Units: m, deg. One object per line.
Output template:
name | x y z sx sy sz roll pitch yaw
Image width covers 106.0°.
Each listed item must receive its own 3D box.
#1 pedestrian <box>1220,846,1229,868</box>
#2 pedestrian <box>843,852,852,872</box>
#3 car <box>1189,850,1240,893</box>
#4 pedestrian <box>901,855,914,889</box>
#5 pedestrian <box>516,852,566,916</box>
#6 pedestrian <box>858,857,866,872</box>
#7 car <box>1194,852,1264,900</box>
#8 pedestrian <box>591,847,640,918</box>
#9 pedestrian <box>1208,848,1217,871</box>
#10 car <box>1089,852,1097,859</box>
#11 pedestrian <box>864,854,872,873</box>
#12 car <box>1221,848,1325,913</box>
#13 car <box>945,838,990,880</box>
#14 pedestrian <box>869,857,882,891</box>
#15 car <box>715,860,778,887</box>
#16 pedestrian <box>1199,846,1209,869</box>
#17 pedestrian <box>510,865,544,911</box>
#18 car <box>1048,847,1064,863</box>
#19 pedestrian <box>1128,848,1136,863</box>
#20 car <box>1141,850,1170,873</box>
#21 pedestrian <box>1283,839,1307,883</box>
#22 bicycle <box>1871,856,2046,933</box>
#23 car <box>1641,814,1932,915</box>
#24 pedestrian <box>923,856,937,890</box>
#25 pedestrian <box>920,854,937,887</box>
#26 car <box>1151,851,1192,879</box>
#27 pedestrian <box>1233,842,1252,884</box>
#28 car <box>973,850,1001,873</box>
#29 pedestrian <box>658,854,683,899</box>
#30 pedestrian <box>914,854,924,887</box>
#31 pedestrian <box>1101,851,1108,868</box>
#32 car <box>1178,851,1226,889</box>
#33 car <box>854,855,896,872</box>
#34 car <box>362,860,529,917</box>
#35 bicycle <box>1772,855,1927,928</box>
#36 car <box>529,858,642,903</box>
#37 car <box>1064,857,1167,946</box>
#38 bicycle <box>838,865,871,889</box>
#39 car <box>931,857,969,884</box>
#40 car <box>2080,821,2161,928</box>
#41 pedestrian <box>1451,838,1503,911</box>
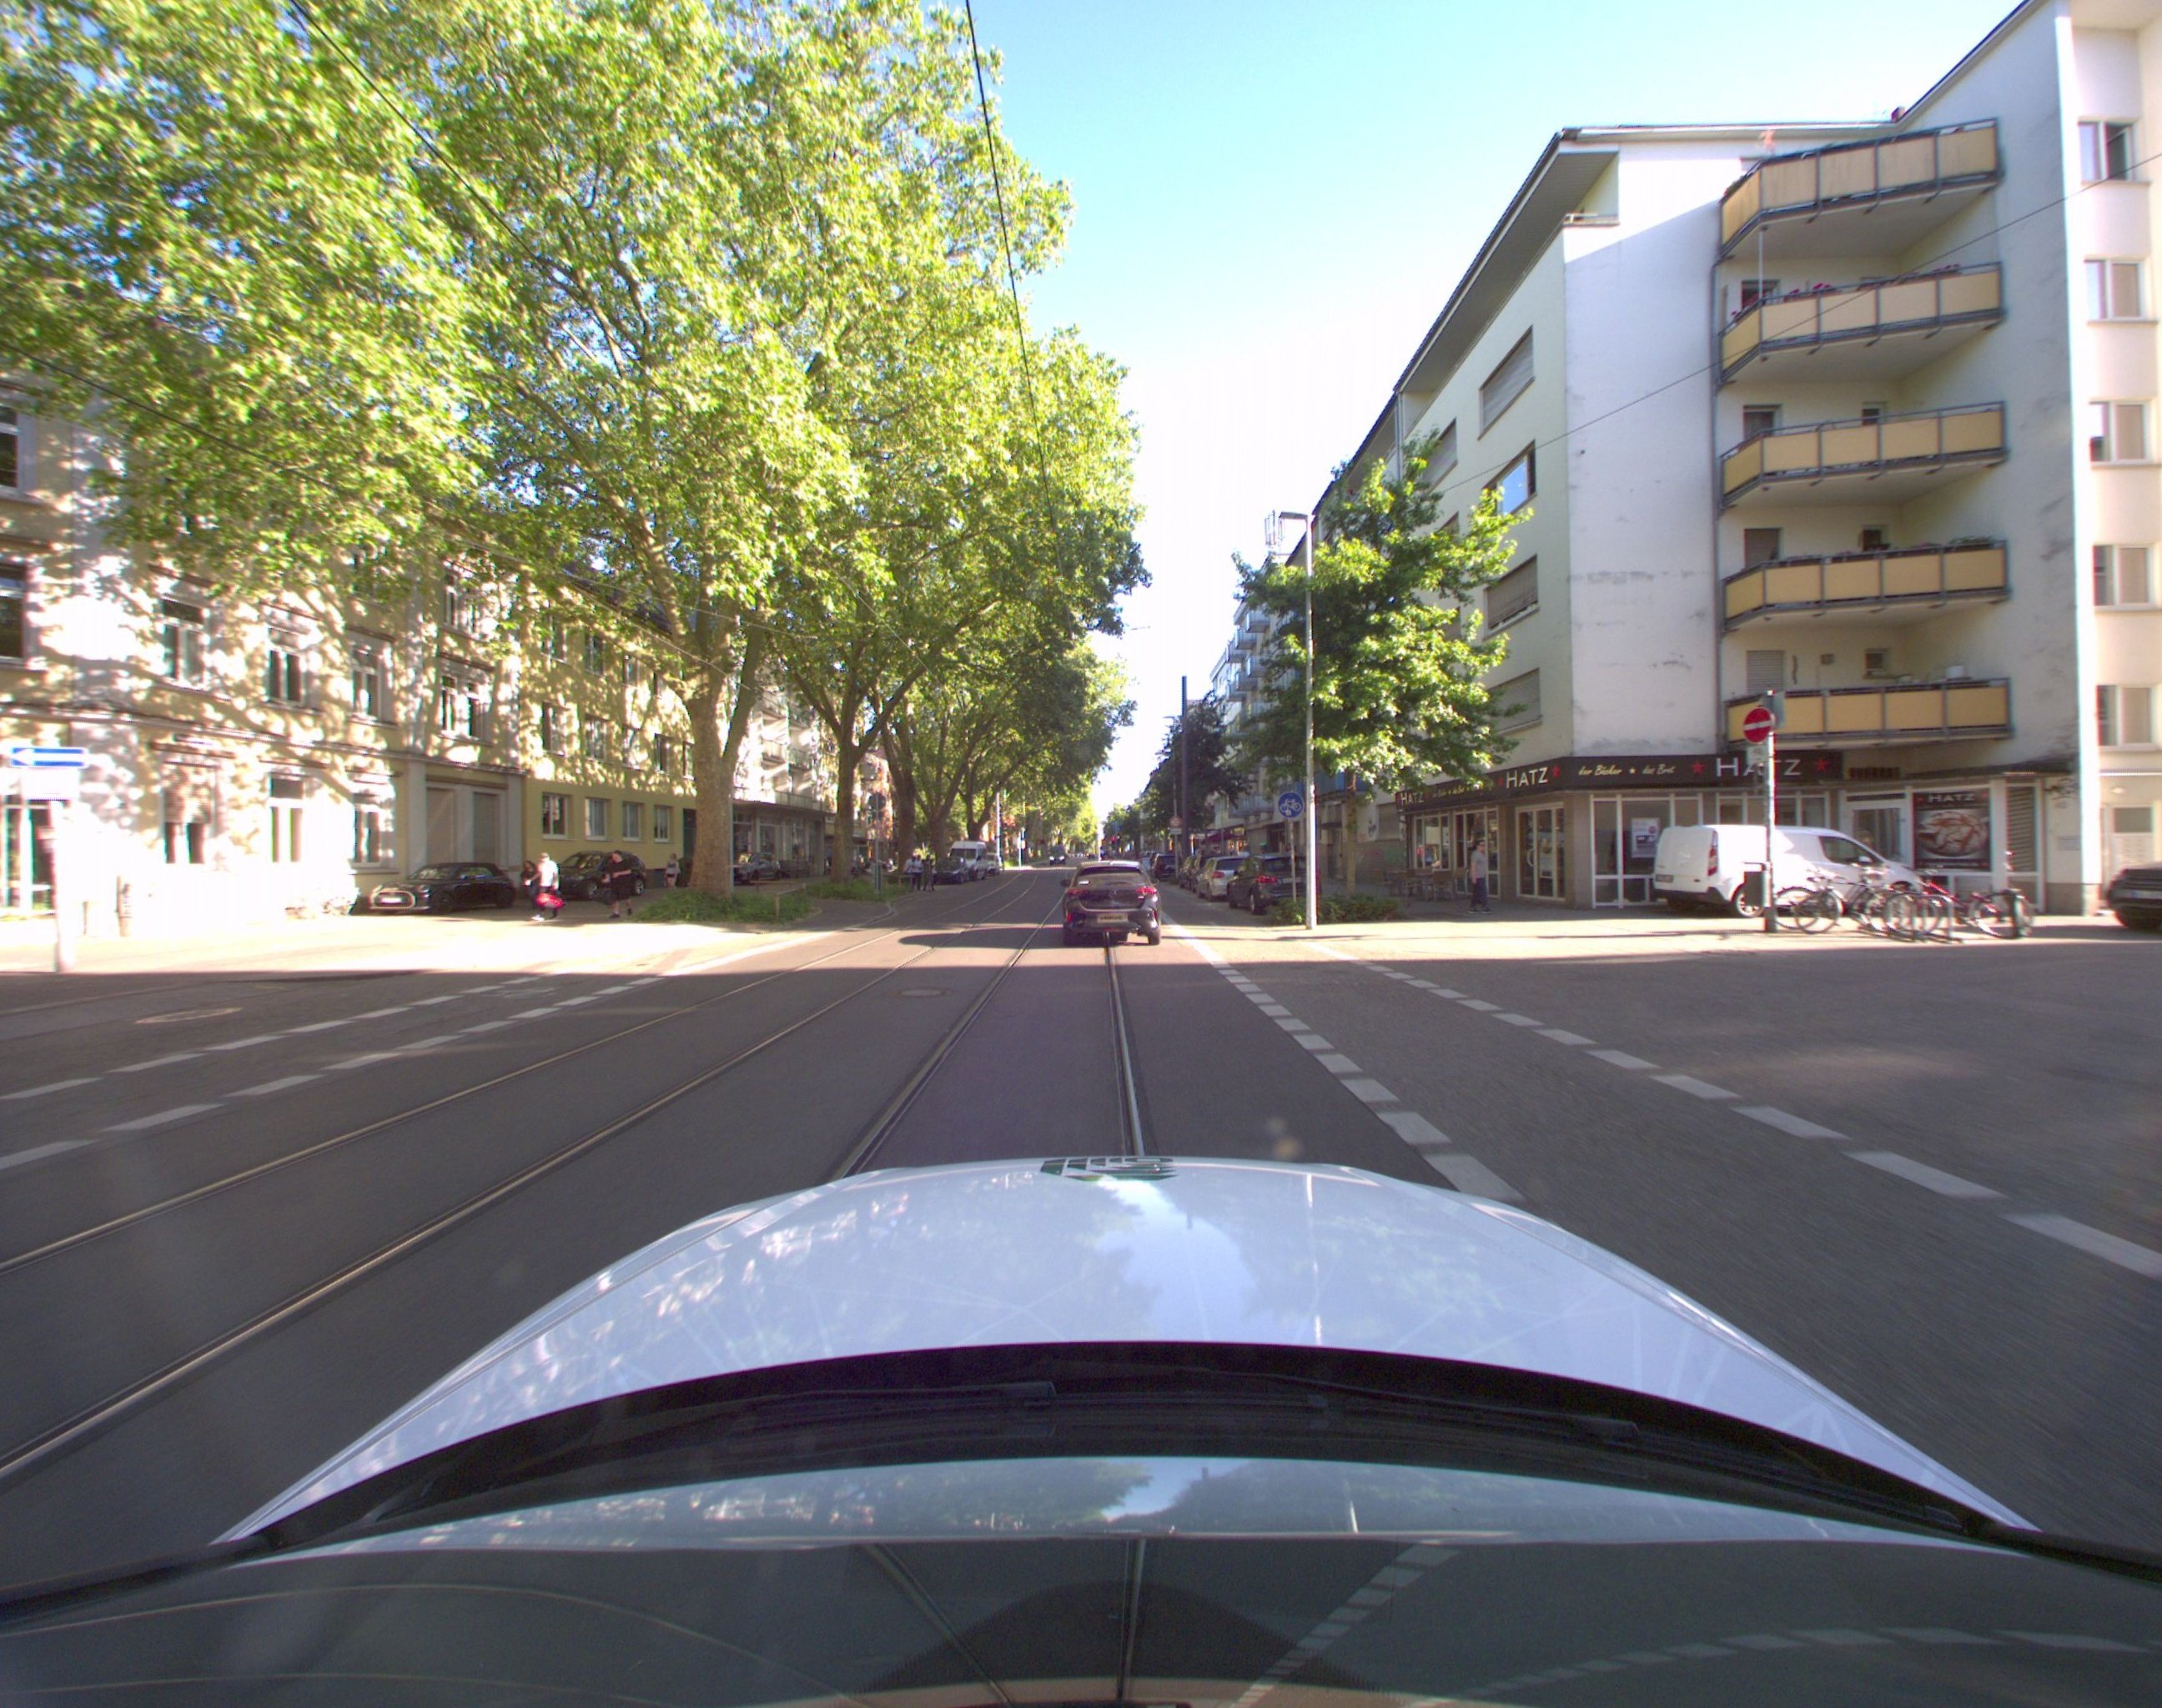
pedestrian | 11.177 0.221 63.572 0.626 1.732 0.633 -1 0 7
pedestrian | -18.865 0.643 65.683 0.552 1.582 0.573 -1 0 -3
car | 5.263 0.664 32.330 1.644 1.574 3.086 -1 0 3
pedestrian | -8.201 0.851 38.551 0.505 1.582 0.526 -1 0 -3
pedestrian | -14.158 0.782 21.371 0.845 1.632 0.643 -1 0 -5
pedestrian | -18.826 0.906 70.034 0.505 1.333 0.526 -1 0 -2
car | 4.997 0.715 27.937 1.713 1.490 3.681 -1 0 0
pedestrian | -12.461 0.751 21.817 0.903 1.869 0.643 -1 0 -5
pedestrian | 10.170 0.394 62.805 0.626 1.732 0.633 -1 0 6
car | 2.953 0.388 204.078 1.743 1.651 4.003 -1 0 3
pedestrian | -18.152 0.788 69.486 0.505 1.582 0.526 -1 0 -2
car | 5.161 0.647 22.400 1.714 1.574 4.080 -1 0 -3
car | -7.523 0.288 54.576 2.085 2.584 5.997 -1 0 1
pedestrian | -9.844 0.945 39.013 0.505 1.582 0.526 -1 0 -2
car | -17.758 1.015 43.466 1.689 1.276 3.829 -1 1 1
pedestrian | 9.483 0.260 62.784 0.626 1.732 0.633 -1 0 6
pedestrian | -17.123 1.041 25.194 0.549 1.403 0.650 -1 0 4
car | -3.486 0.126 112.889 1.989 2.211 5.097 -1 0 -3
pedestrian | 7.006 0.228 111.114 0.853 2.013 1.070 -6 -1 2
car | 5.608 0.527 61.203 1.983 1.640 4.008 -1 0 7
pedestrian | 8.674 0.285 32.995 0.789 1.748 0.771 -1 0 3
bicycle | 13.296 0.614 12.393 1.759 1.117 0.616 -1 0 14
car | 14.320 0.190 16.701 4.349 1.831 1.998 -1 0 -3
pedestrian | -7.198 0.913 38.786 0.505 1.582 0.527 -1 0 0
pedestrian | -7.387 0.796 39.477 0.681 1.582 0.557 -1 0 -1
car | 5.133 0.589 46.693 1.986 1.508 4.001 -1 0 1
pedestrian | 6.469 0.372 32.583 0.598 1.651 0.631 -1 0 0
car | -7.418 0.593 64.351 1.990 1.717 3.994 -1 0 -4
pedestrian | -15.625 0.853 31.027 0.549 1.652 0.650 -1 0 4
pedestrian | -7.724 0.788 38.815 0.345 1.582 0.508 -1 0 -1
pedestrian | 2.257 0.546 78.095 0.594 1.590 0.891 -1 0 -6
car | 5.317 0.665 36.190 1.711 1.574 3.684 -1 0 3
car | -21.833 1.022 86.401 3.981 1.706 1.996 -1 0 -6
car | -18.540 0.941 24.025 1.675 1.464 4.002 -1 0 2
bicycle | 12.596 0.608 13.387 1.827 1.117 0.704 -1 0 3
car | -18.394 0.925 30.477 1.675 1.517 4.002 0 0 2
car | 0.584 0.785 15.116 1.674 1.422 3.628 0 0 1
bicycle | -10.782 1.087 38.744 1.675 1.062 0.455 0 -1 31
car | -7.732 0.947 48.391 1.750 1.508 3.997 -1 0 -2
car | 18.184 0.257 12.289 3.991 1.606 1.804 -1 0 0
pedestrian | 9.099 0.459 18.701 0.847 1.616 0.775 -1 0 45
